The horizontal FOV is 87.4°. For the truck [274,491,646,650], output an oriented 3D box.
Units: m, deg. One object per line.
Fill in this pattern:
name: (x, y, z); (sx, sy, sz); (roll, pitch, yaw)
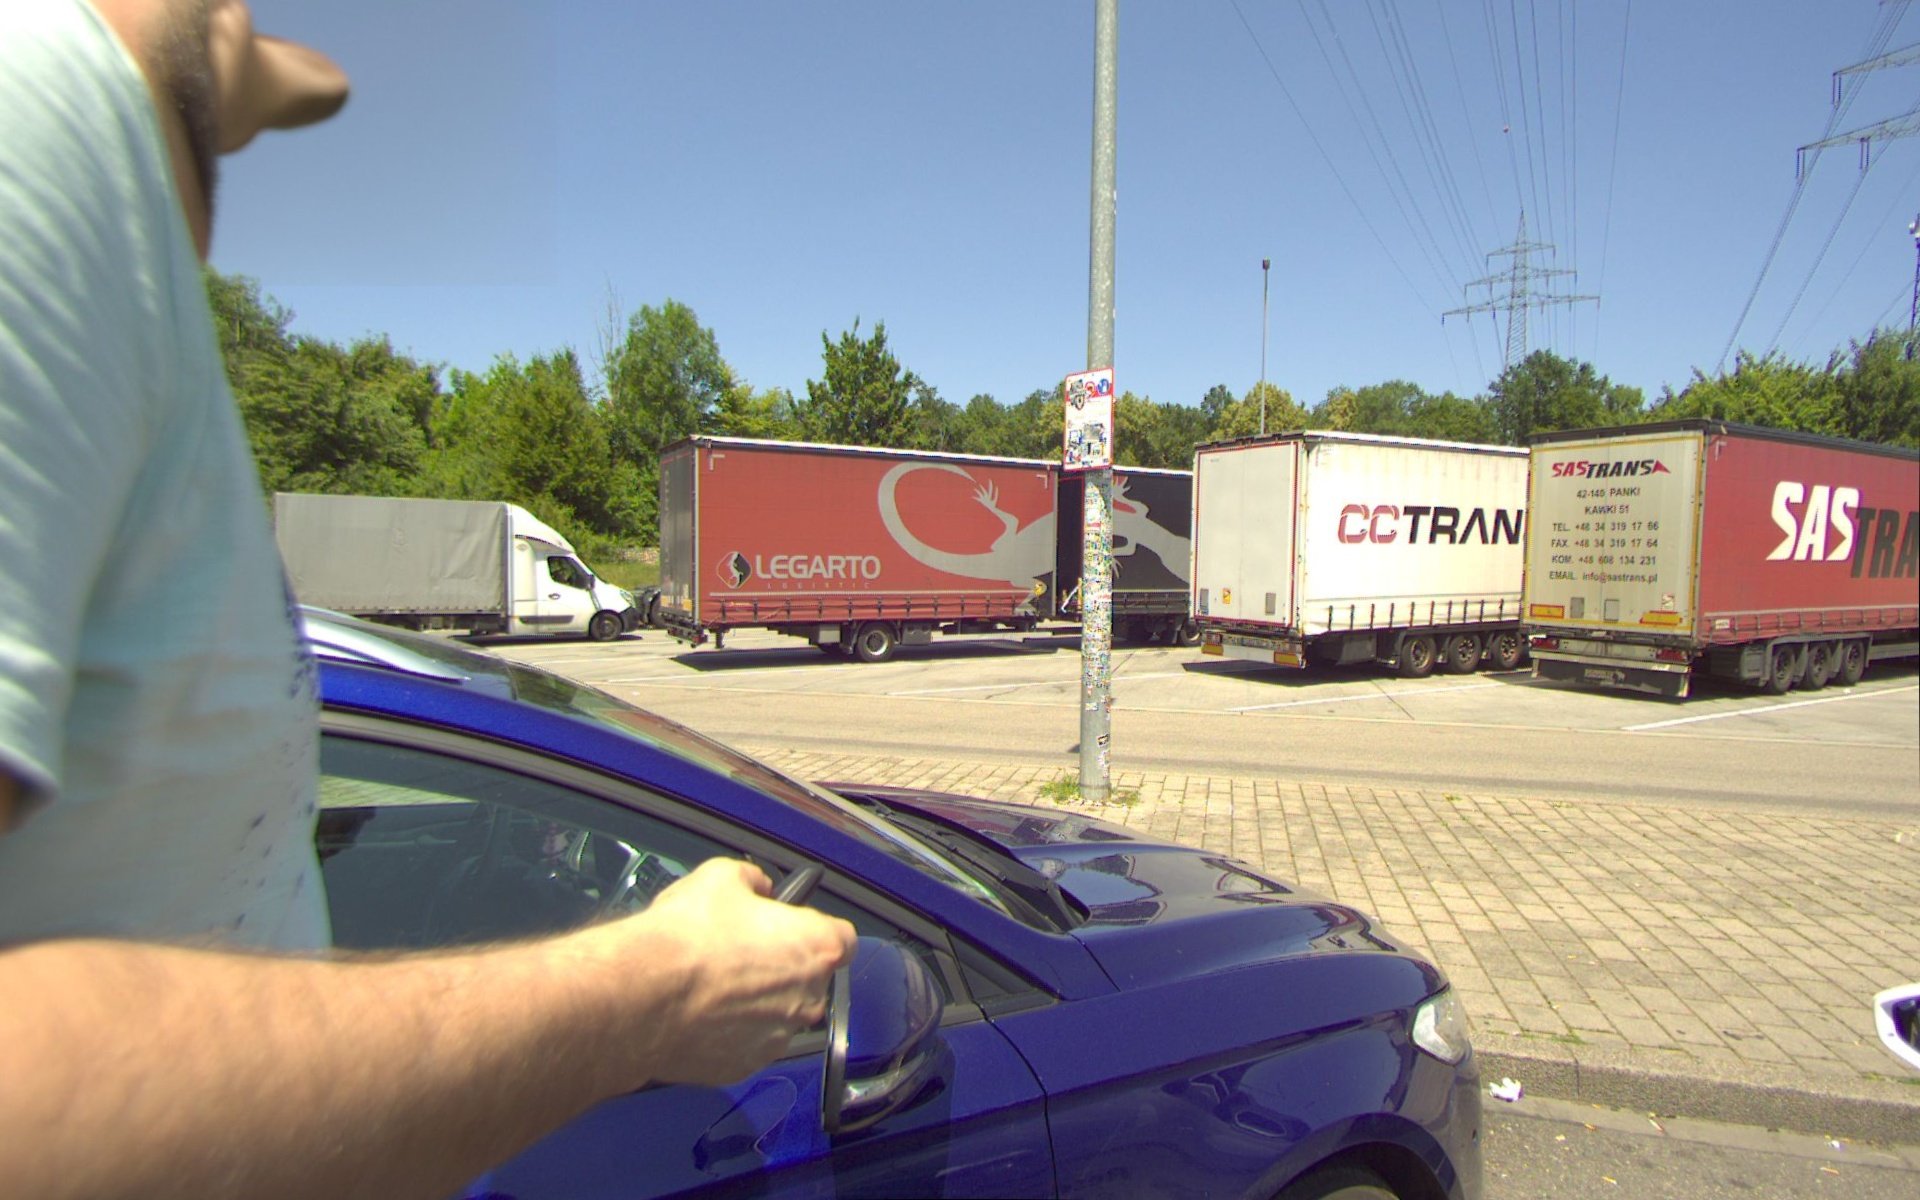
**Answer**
truck: (-11.124, -0.605, 22.913); (7.265, 3.170, 2.352); (0, 1, -30)

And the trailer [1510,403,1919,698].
trailer: (15.315, -0.674, 18.515); (13.129, 4.112, 2.736); (0, 1, -31)

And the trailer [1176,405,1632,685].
trailer: (8.706, -0.833, 19.103); (9.614, 4.321, 2.733); (0, 1, -29)

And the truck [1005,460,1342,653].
truck: (5.396, -0.913, 24.578); (8.534, 4.073, 2.624); (0, 1, -30)

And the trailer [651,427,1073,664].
trailer: (-1.796, -0.919, 20.306); (8.158, 4.027, 2.651); (0, 1, -30)

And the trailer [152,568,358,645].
trailer: (-16.510, 0.147, 23.774); (3.856, 1.684, 1.464); (0, 1, -30)

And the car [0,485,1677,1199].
car: (-1.016, 0.652, 1.461); (4.419, 1.485, 1.765); (0, 1, -32)

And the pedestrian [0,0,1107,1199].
pedestrian: (-0.361, 0.372, 0.542); (0.571, 1.732, 0.682); (0, 1, -30)

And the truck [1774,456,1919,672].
truck: (20.813, -0.678, 21.767); (6.749, 4.136, 2.729); (0, 1, -31)
